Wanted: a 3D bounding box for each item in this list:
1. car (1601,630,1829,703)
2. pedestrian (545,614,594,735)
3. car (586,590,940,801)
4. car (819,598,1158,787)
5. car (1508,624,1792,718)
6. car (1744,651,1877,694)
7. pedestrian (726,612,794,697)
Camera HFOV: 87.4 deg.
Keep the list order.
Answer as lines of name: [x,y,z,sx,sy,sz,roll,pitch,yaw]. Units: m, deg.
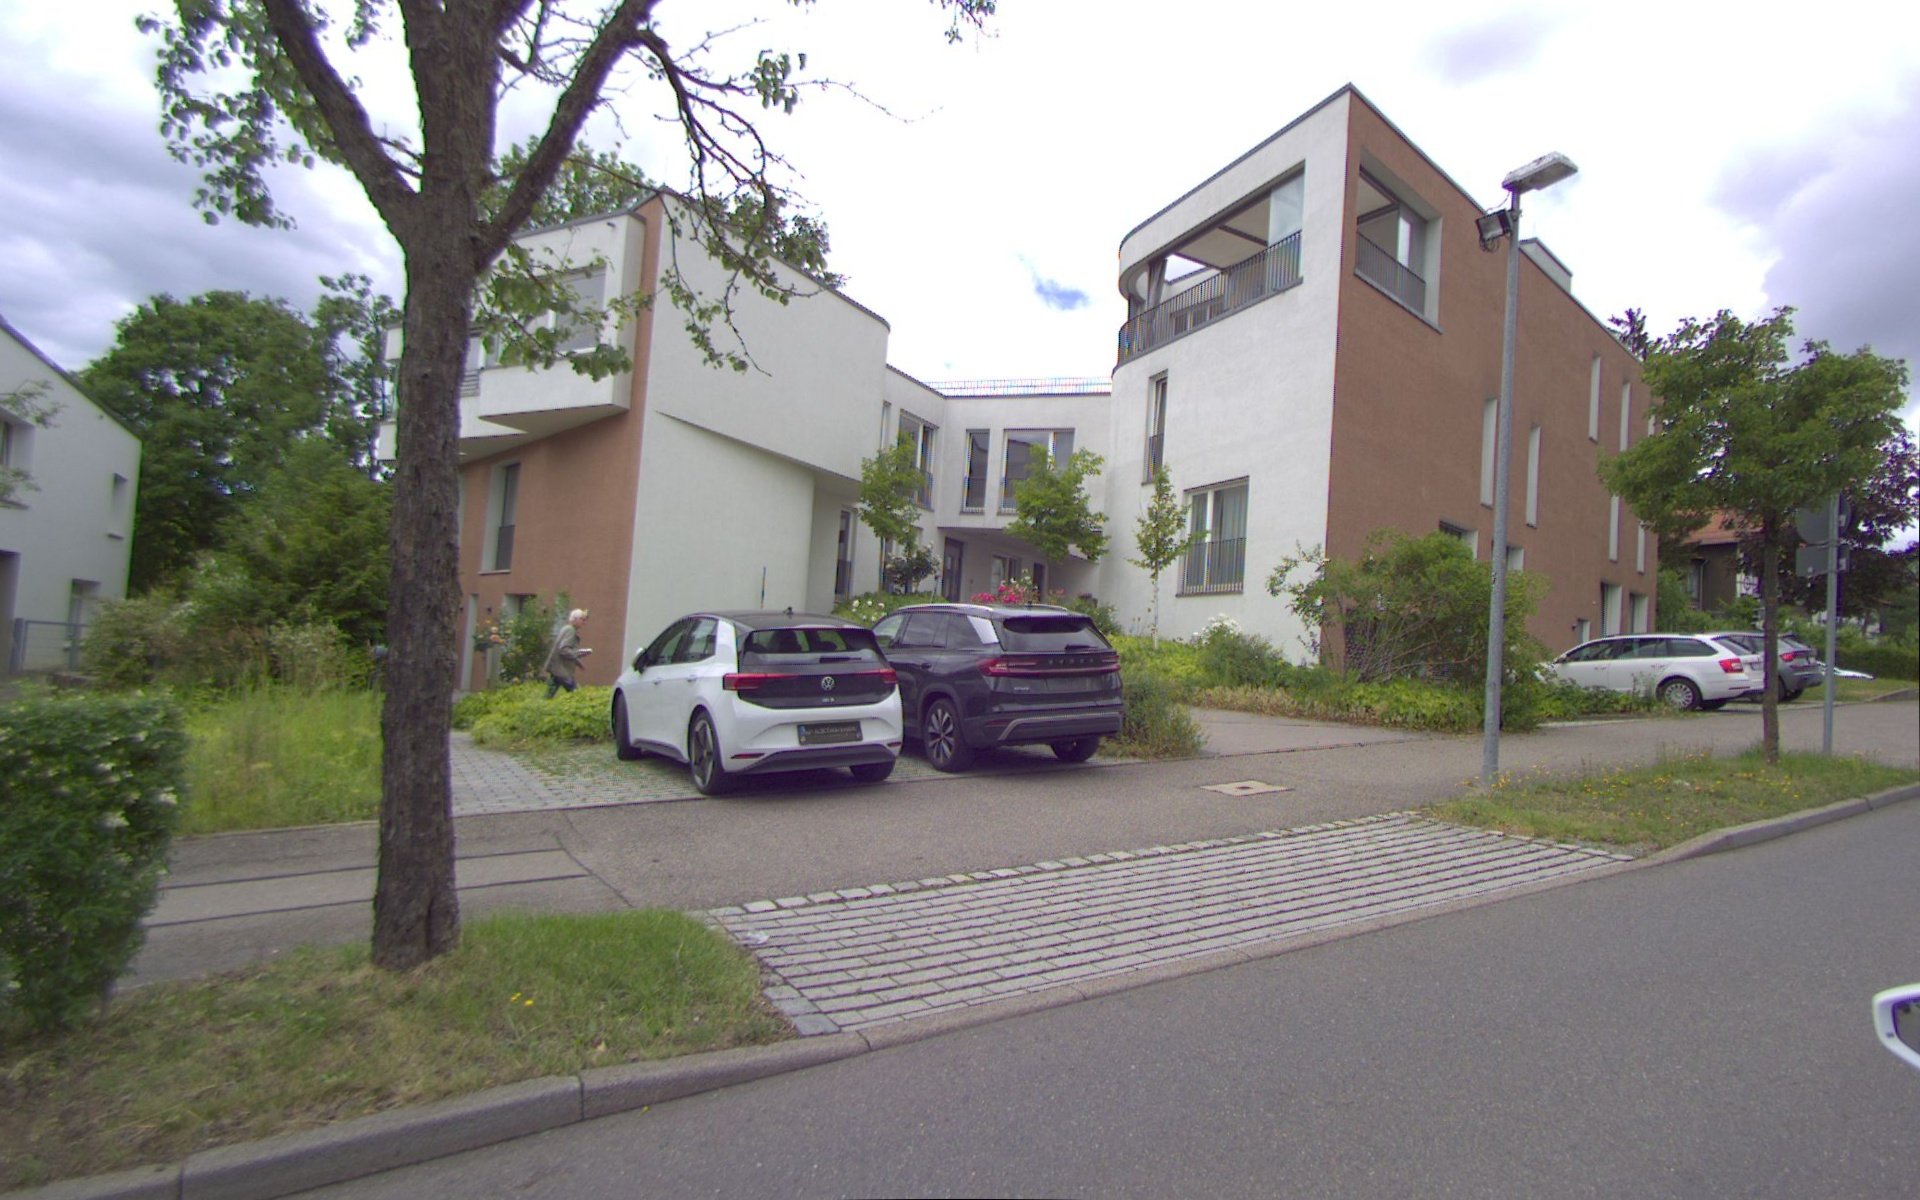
car: [16.765,1.434,22.448,1.716,1.483,3.733,1,-2,-37]
pedestrian: [-5.552,1.045,14.273,0.559,1.662,0.590,1,-2,-30]
car: [-2.185,0.802,9.988,2.044,1.587,4.363,1,-2,-32]
car: [0.112,0.858,11.136,1.985,1.675,3.968,1,-1,-30]
car: [13.544,1.369,19.968,1.993,1.644,4.235,3,-4,-33]
car: [33.727,2.845,39.962,3.940,1.401,1.928,0,0,40]
pedestrian: [-3.182,0.853,15.955,0.889,1.300,0.604,1,0,-32]
